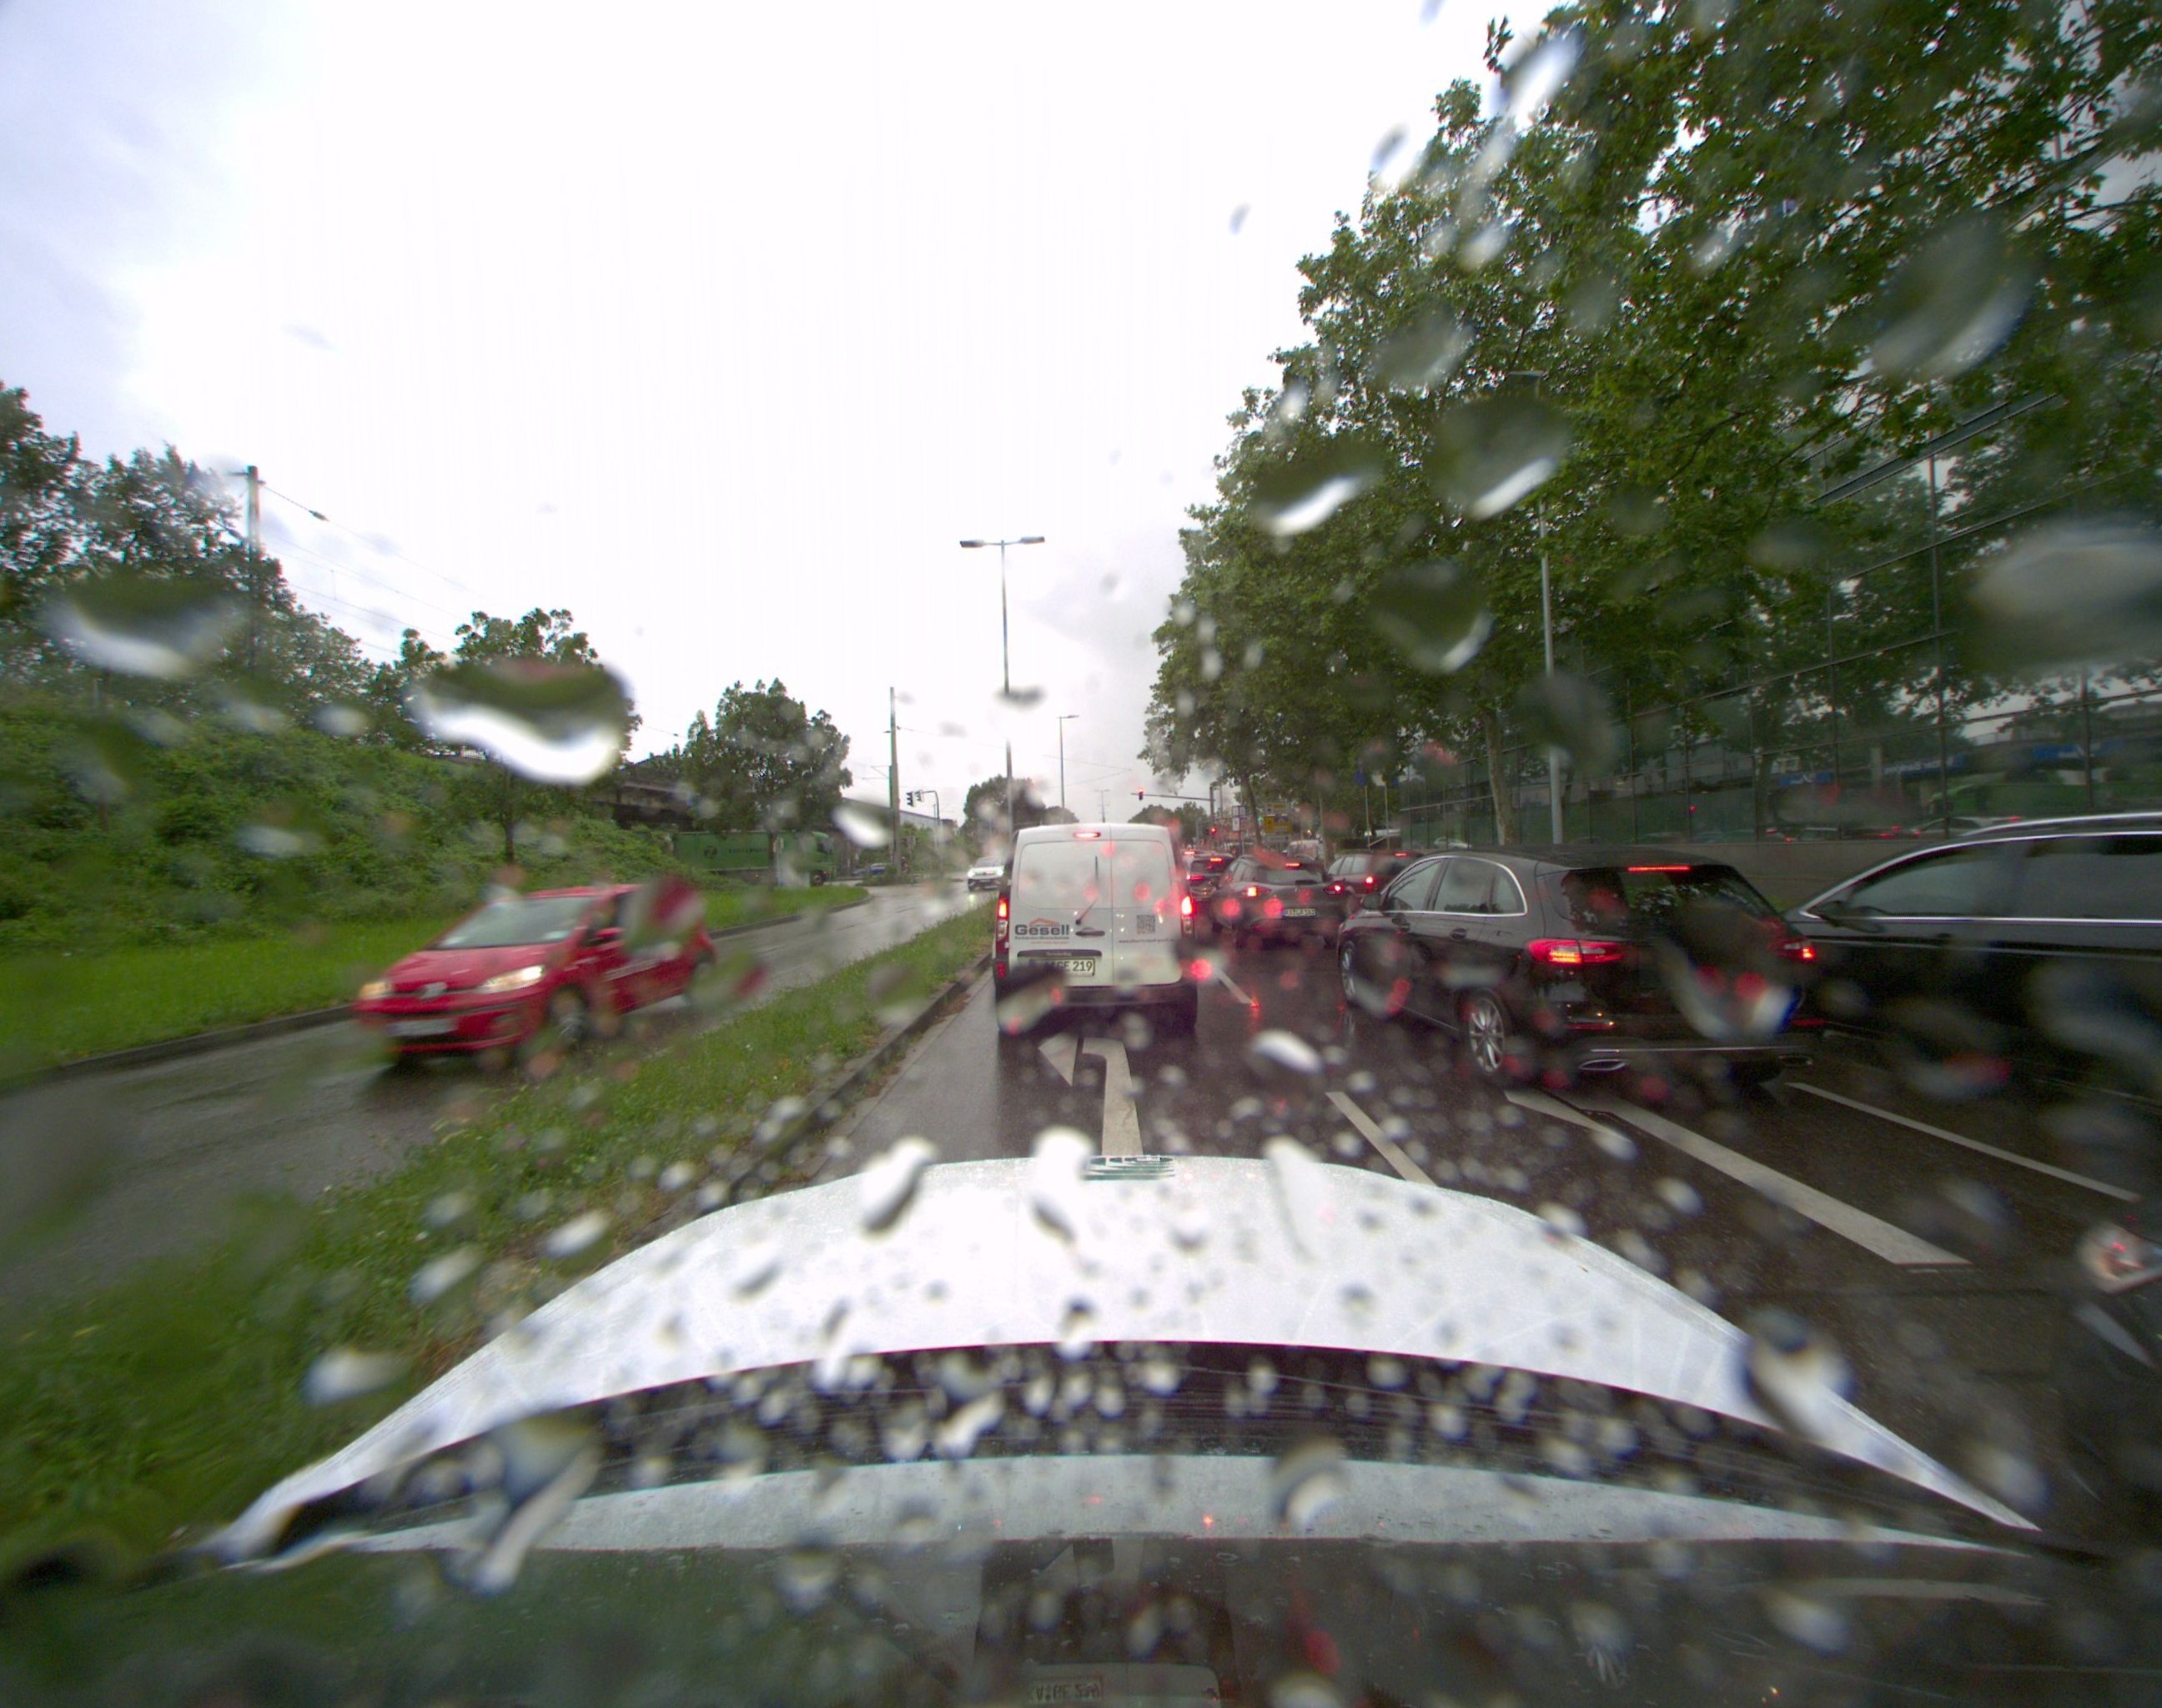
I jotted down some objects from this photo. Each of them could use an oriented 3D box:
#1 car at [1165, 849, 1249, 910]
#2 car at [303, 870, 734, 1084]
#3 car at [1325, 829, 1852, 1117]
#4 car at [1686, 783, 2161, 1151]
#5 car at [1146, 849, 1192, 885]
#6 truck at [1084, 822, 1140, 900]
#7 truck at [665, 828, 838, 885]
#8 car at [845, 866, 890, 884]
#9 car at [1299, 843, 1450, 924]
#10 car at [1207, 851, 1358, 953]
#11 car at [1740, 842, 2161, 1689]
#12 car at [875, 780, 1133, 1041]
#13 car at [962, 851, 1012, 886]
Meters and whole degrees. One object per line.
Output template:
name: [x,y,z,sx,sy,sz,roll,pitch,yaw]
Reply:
car: [3.246,0.602,21.626,1.705,1.445,4.002,-1,0,2]
car: [-5.286,1.028,8.342,1.709,1.513,3.616,-4,0,2]
car: [3.403,0.627,6.487,1.703,1.549,4.000,-1,1,0]
car: [5.990,0.521,4.720,1.850,1.726,4.190,-1,0,0]
car: [3.914,0.543,36.656,1.705,1.445,4.002,-1,0,2]
truck: [1.017,0.245,28.184,1.751,2.466,3.999,-1,0,0]
truck: [-21.419,0.164,53.390,10.185,3.452,2.629,0,-2,-36]
car: [-20.817,2.028,79.532,3.954,1.525,1.761,-4,1,-24]
car: [6.166,0.582,17.651,1.833,1.537,4.111,-1,0,1]
car: [3.292,0.704,14.073,1.705,1.445,4.002,-1,0,2]
car: [2.836,0.685,0.275,1.987,1.452,3.999,-1,0,0]
car: [-0.598,0.450,8.390,1.987,2.014,3.999,-1,0,0]
car: [-4.659,0.686,40.987,1.956,1.525,4.334,-3,1,0]
